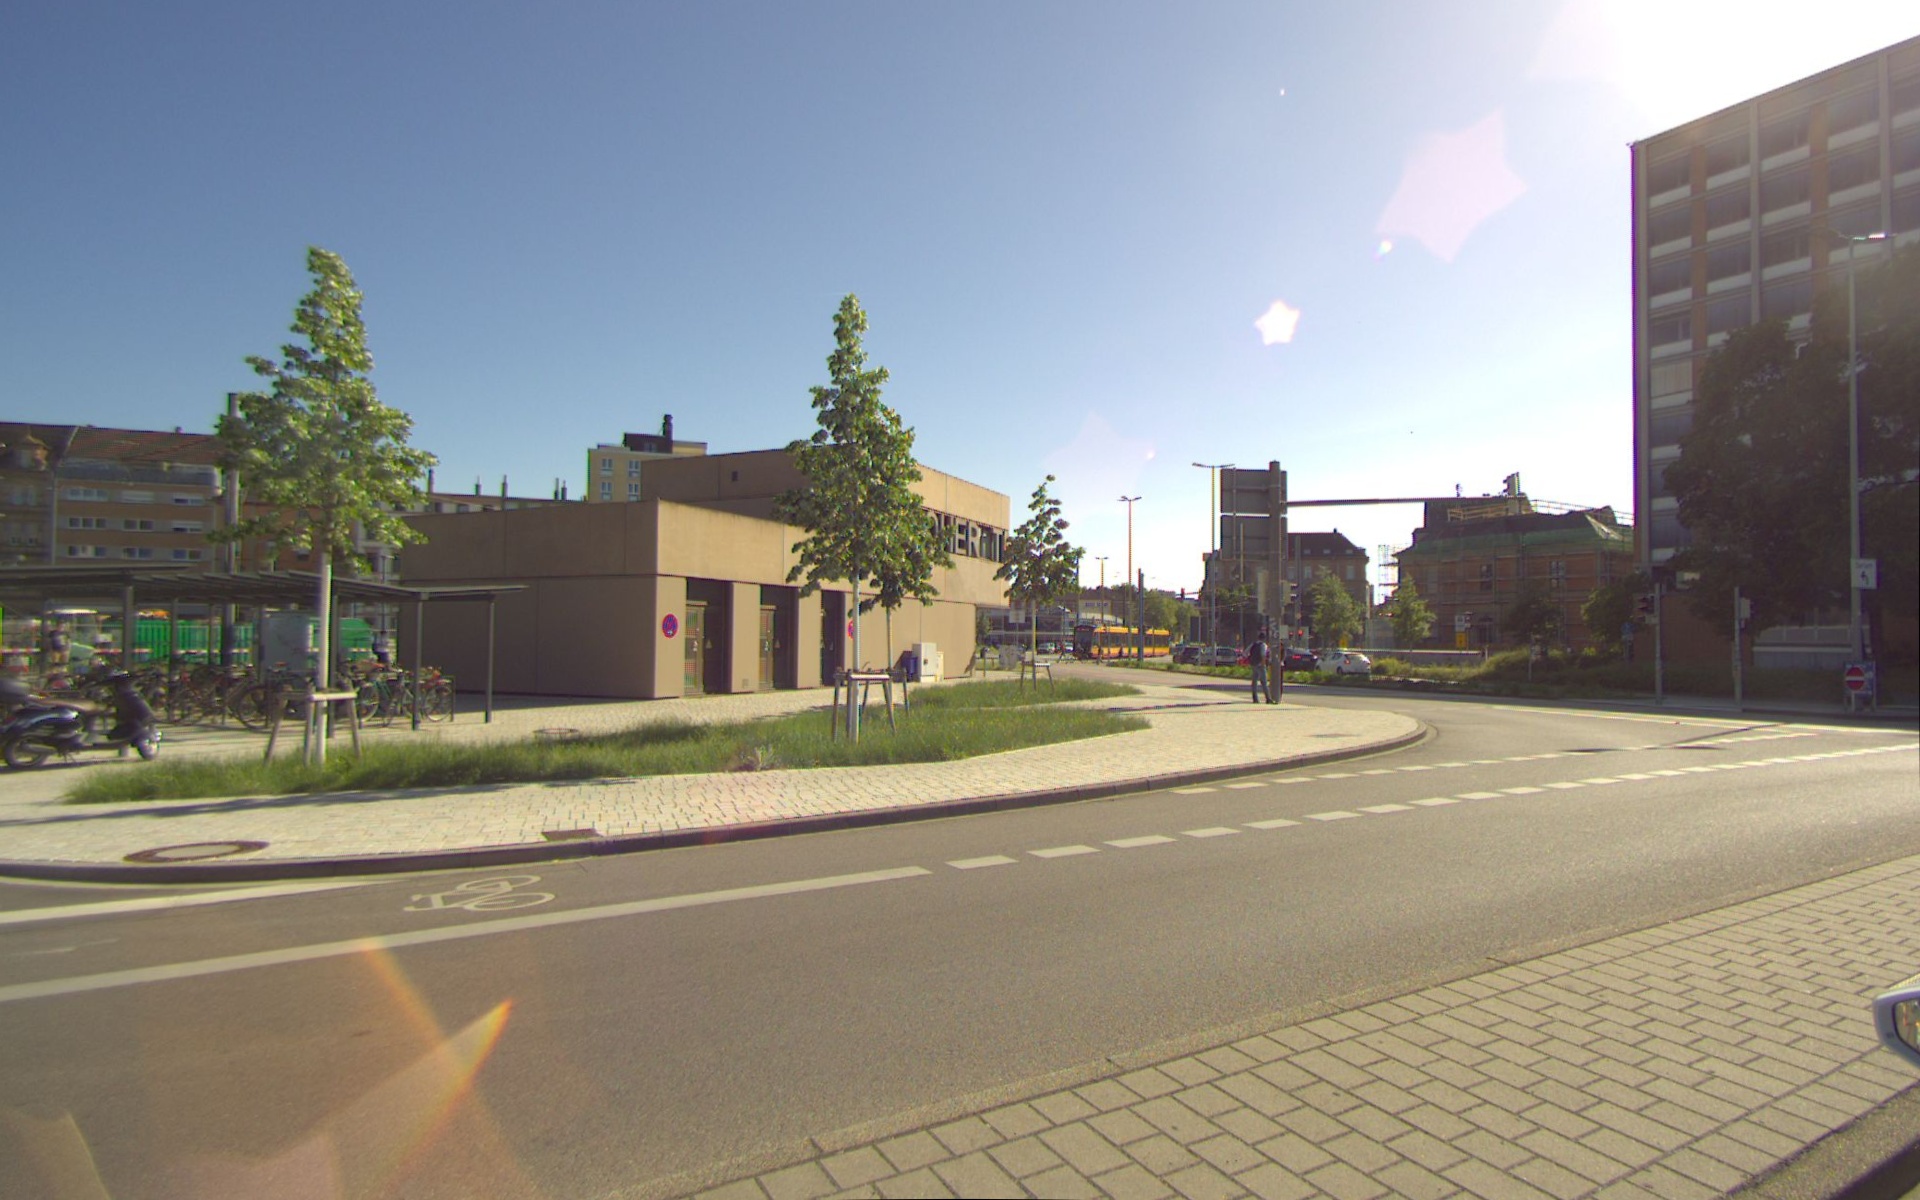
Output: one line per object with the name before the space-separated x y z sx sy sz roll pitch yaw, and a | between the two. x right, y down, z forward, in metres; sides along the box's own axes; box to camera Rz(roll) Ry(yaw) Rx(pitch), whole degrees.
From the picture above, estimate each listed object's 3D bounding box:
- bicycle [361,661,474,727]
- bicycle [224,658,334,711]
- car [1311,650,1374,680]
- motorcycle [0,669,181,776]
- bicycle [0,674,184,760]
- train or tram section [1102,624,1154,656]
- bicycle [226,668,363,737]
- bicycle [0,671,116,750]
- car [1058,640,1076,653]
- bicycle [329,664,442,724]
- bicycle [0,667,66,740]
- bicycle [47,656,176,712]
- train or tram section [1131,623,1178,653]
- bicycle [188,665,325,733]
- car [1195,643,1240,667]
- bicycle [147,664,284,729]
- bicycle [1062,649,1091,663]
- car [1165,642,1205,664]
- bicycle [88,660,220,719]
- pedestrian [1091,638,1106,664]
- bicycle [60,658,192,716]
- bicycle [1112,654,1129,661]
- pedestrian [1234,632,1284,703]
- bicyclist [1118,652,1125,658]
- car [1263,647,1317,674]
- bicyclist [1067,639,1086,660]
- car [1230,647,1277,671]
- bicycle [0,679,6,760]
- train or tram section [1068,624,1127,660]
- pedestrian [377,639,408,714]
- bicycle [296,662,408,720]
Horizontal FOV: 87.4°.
bicycle | -9.936 1.694 18.488 0.449 1.112 1.902 0 -2 26
bicycle | -14.081 1.726 20.826 0.449 1.022 1.902 0 -2 26
car | 21.242 3.590 55.933 1.760 1.528 3.880 1 -2 -6
motorcycle | -10.928 1.473 12.468 0.508 1.166 1.947 0 -2 25
bicycle | -11.823 1.554 13.721 0.449 1.022 1.902 0 -2 26
train or tram section | 18.896 4.354 112.082 2.651 3.275 10.589 2 0 27
bicycle | -10.919 1.660 16.568 0.449 1.022 1.902 0 -2 26
bicycle | -13.037 1.534 14.012 0.449 1.022 1.902 0 -2 26
car | 15.040 6.516 141.275 1.709 1.672 4.002 0 -2 17
bicycle | -10.715 1.732 18.817 0.449 1.022 1.902 0 -2 26
bicycle | -14.167 1.506 14.443 0.449 1.022 1.902 0 -2 26
bicycle | -16.708 1.636 19.836 0.449 1.022 1.902 0 -2 26
train or tram section | 23.632 4.544 121.581 2.651 3.275 10.589 2 0 27
bicycle | -11.897 1.650 17.057 0.449 1.022 1.902 0 -2 26
car | 17.451 3.689 68.270 1.760 1.528 3.880 1 -2 -6
bicycle | -12.907 1.646 17.487 0.449 1.022 1.902 0 -2 26
bicycle | 9.923 4.766 85.745 2.370 1.076 0.811 2 0 4
car | 16.769 3.924 74.997 1.760 1.528 3.880 1 -2 -6
bicycle | -15.089 1.653 18.862 0.449 1.022 1.902 0 -2 26
pedestrian | 11.235 4.142 81.688 1.023 2.040 0.724 1 -2 -9
bicycle | -15.926 1.641 19.237 0.449 1.022 1.902 0 -2 26
bicycle | 13.494 4.858 84.538 1.381 0.556 0.435 0 -2 11
pedestrian | 7.599 1.709 25.570 1.044 1.753 0.652 1 -2 -16
bicyclist | 13.588 4.622 84.532 0.560 0.556 0.431 0 -2 11
car | 20.569 3.764 62.789 1.760 1.528 3.880 1 -2 -6
bicyclist | 9.923 4.231 85.728 1.544 1.655 0.811 2 0 4
car | 20.199 4.028 69.250 1.760 1.528 3.880 1 -2 -6
bicycle | -12.753 1.483 12.001 0.449 1.022 1.902 0 -2 26
train or tram section | 14.134 4.192 102.631 2.651 3.275 10.589 2 0 27
pedestrian | -15.674 2.088 27.750 0.710 2.040 0.682 1 -2 -30
bicycle | -11.805 1.741 19.574 0.449 1.022 1.902 0 -2 26
